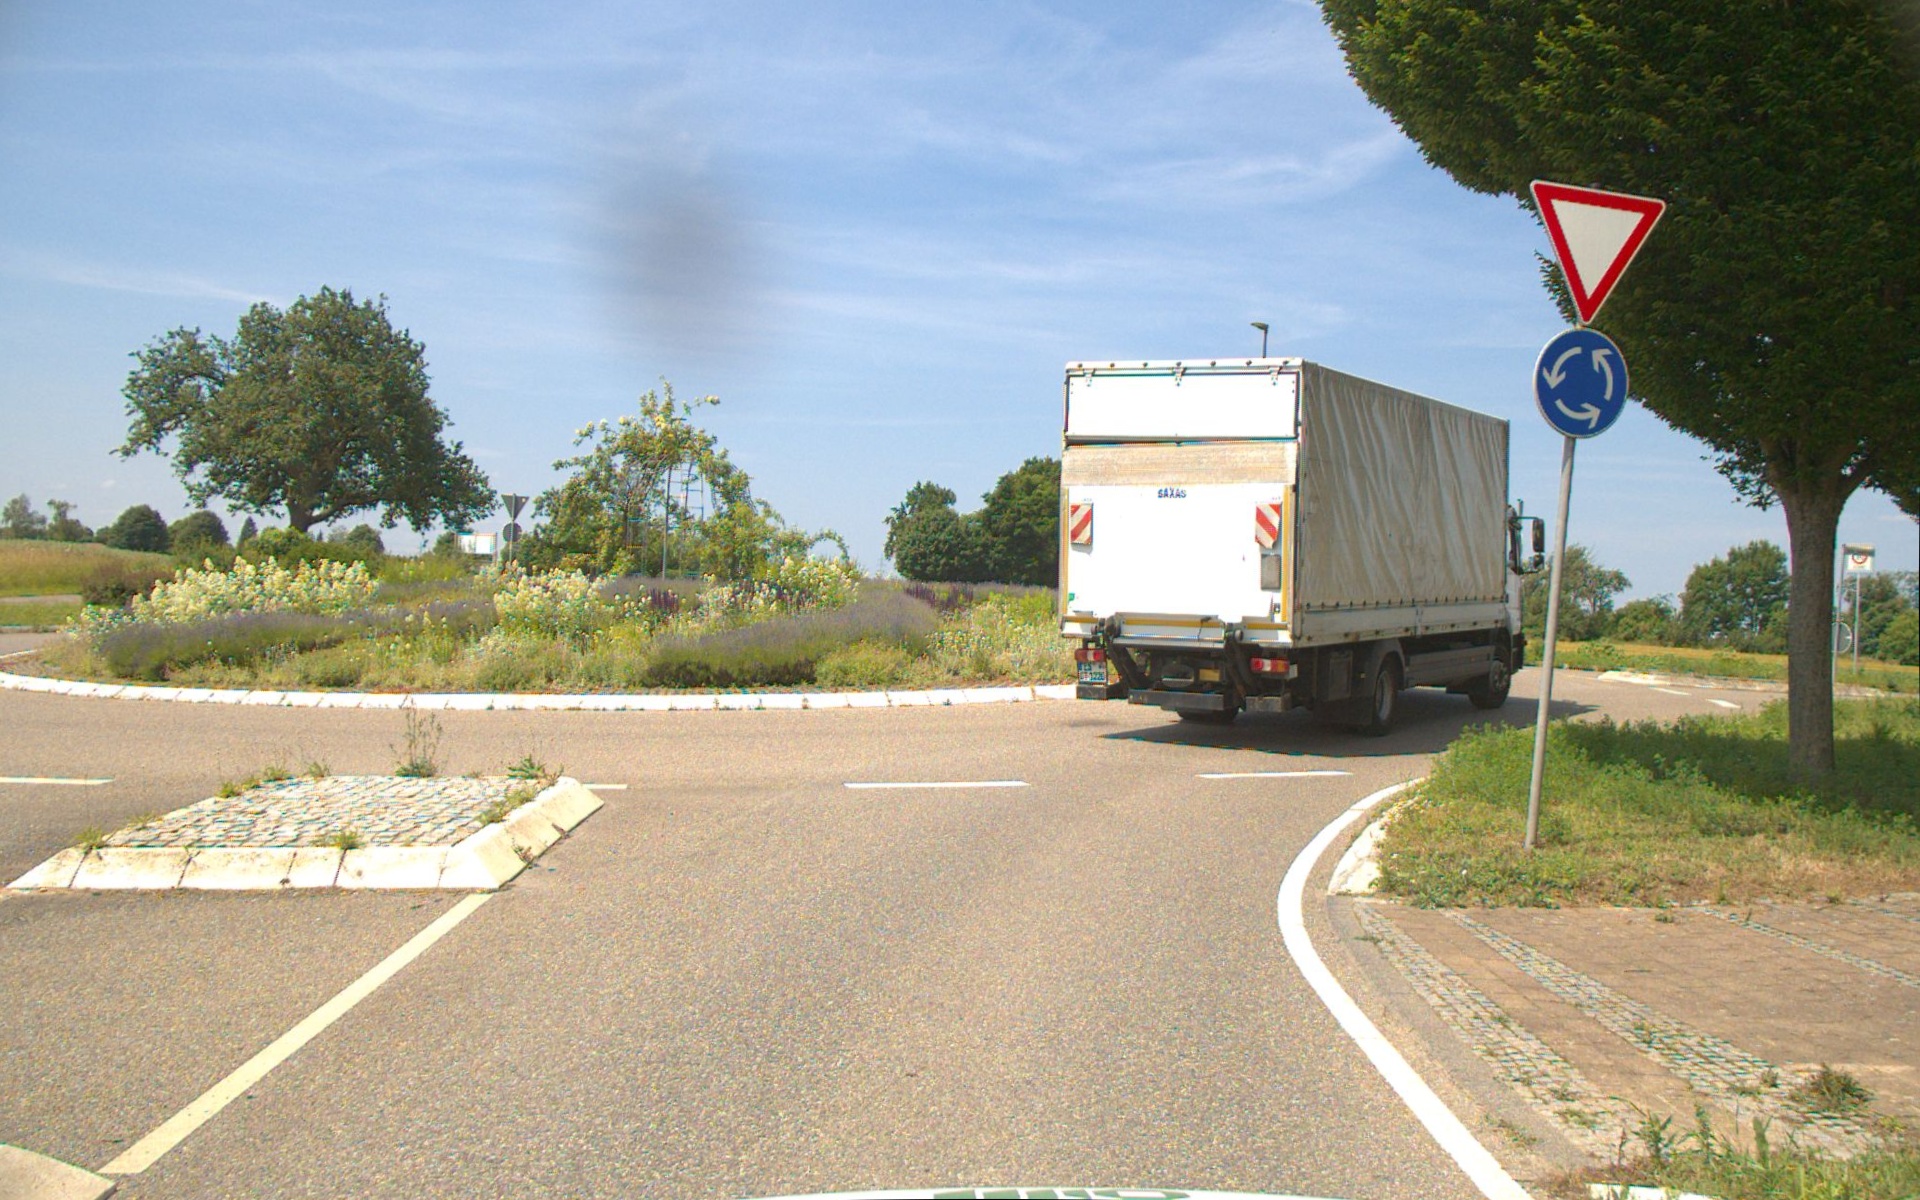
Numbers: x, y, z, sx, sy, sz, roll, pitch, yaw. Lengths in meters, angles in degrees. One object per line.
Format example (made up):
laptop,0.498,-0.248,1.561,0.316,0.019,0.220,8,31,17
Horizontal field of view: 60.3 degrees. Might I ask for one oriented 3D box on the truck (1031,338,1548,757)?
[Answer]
truck,4.378,-0.526,19.473,2.718,3.734,9.357,2,1,32
